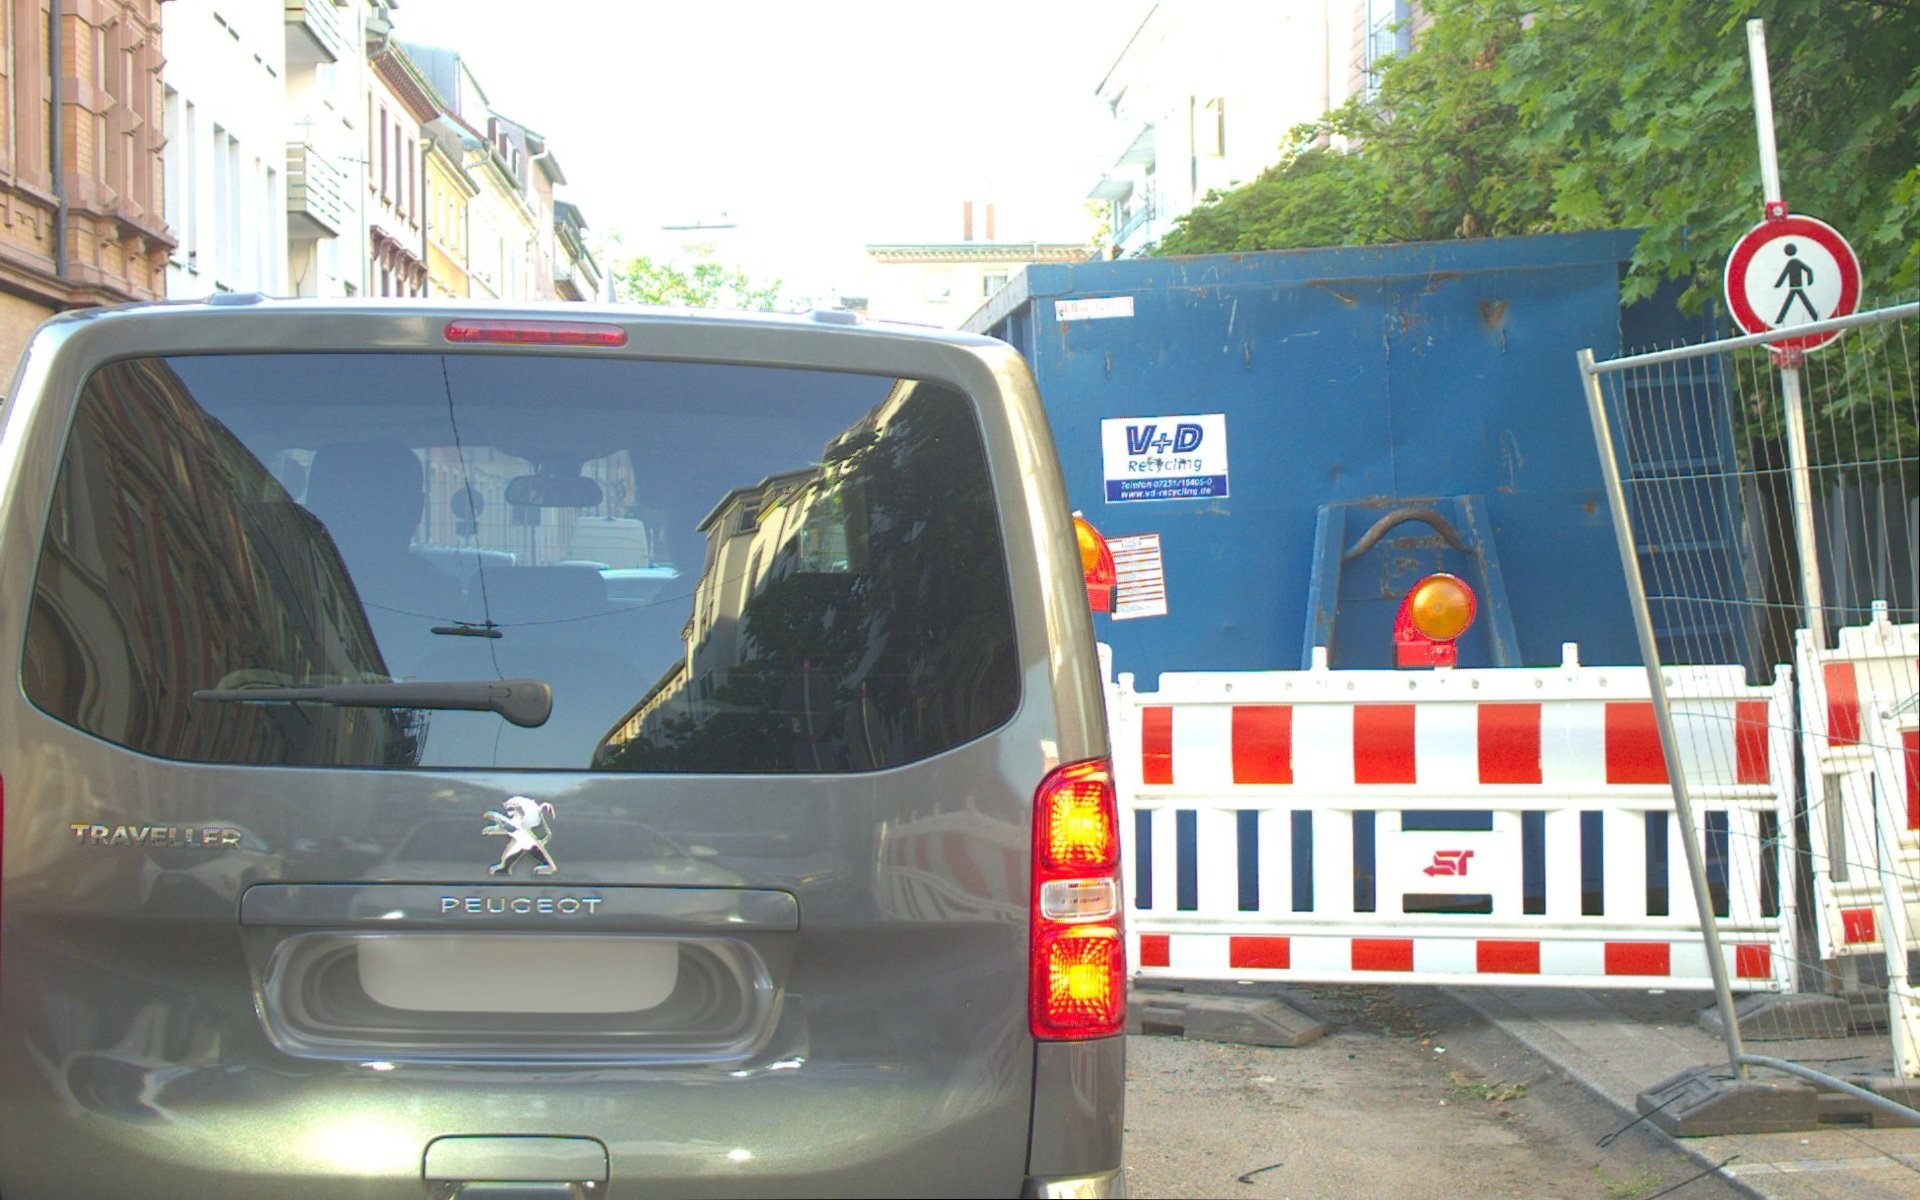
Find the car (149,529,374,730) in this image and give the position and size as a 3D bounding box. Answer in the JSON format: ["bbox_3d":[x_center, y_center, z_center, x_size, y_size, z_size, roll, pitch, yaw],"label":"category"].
[{"bbox_3d":[-6.397,0.252,31.734,1.666,1.660,3.092,4,0,-7],"label":"car"}]

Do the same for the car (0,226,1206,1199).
[{"bbox_3d":[-0.840,0.448,6.603,1.865,1.880,4.236,0,0,-7],"label":"car"}]

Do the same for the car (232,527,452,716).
[{"bbox_3d":[-6.296,0.203,35.379,1.891,1.714,3.755,4,0,-7],"label":"car"}]

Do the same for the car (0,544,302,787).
[{"bbox_3d":[-5.735,0.432,24.652,1.655,1.520,3.418,4,0,-7],"label":"car"}]

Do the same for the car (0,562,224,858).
[{"bbox_3d":[-5.200,0.539,19.344,1.655,1.455,3.418,4,0,-7],"label":"car"}]

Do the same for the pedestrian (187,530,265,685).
[{"bbox_3d":[-7.994,0.078,37.459,0.739,1.659,0.704,-1,1,-7],"label":"pedestrian"}]
